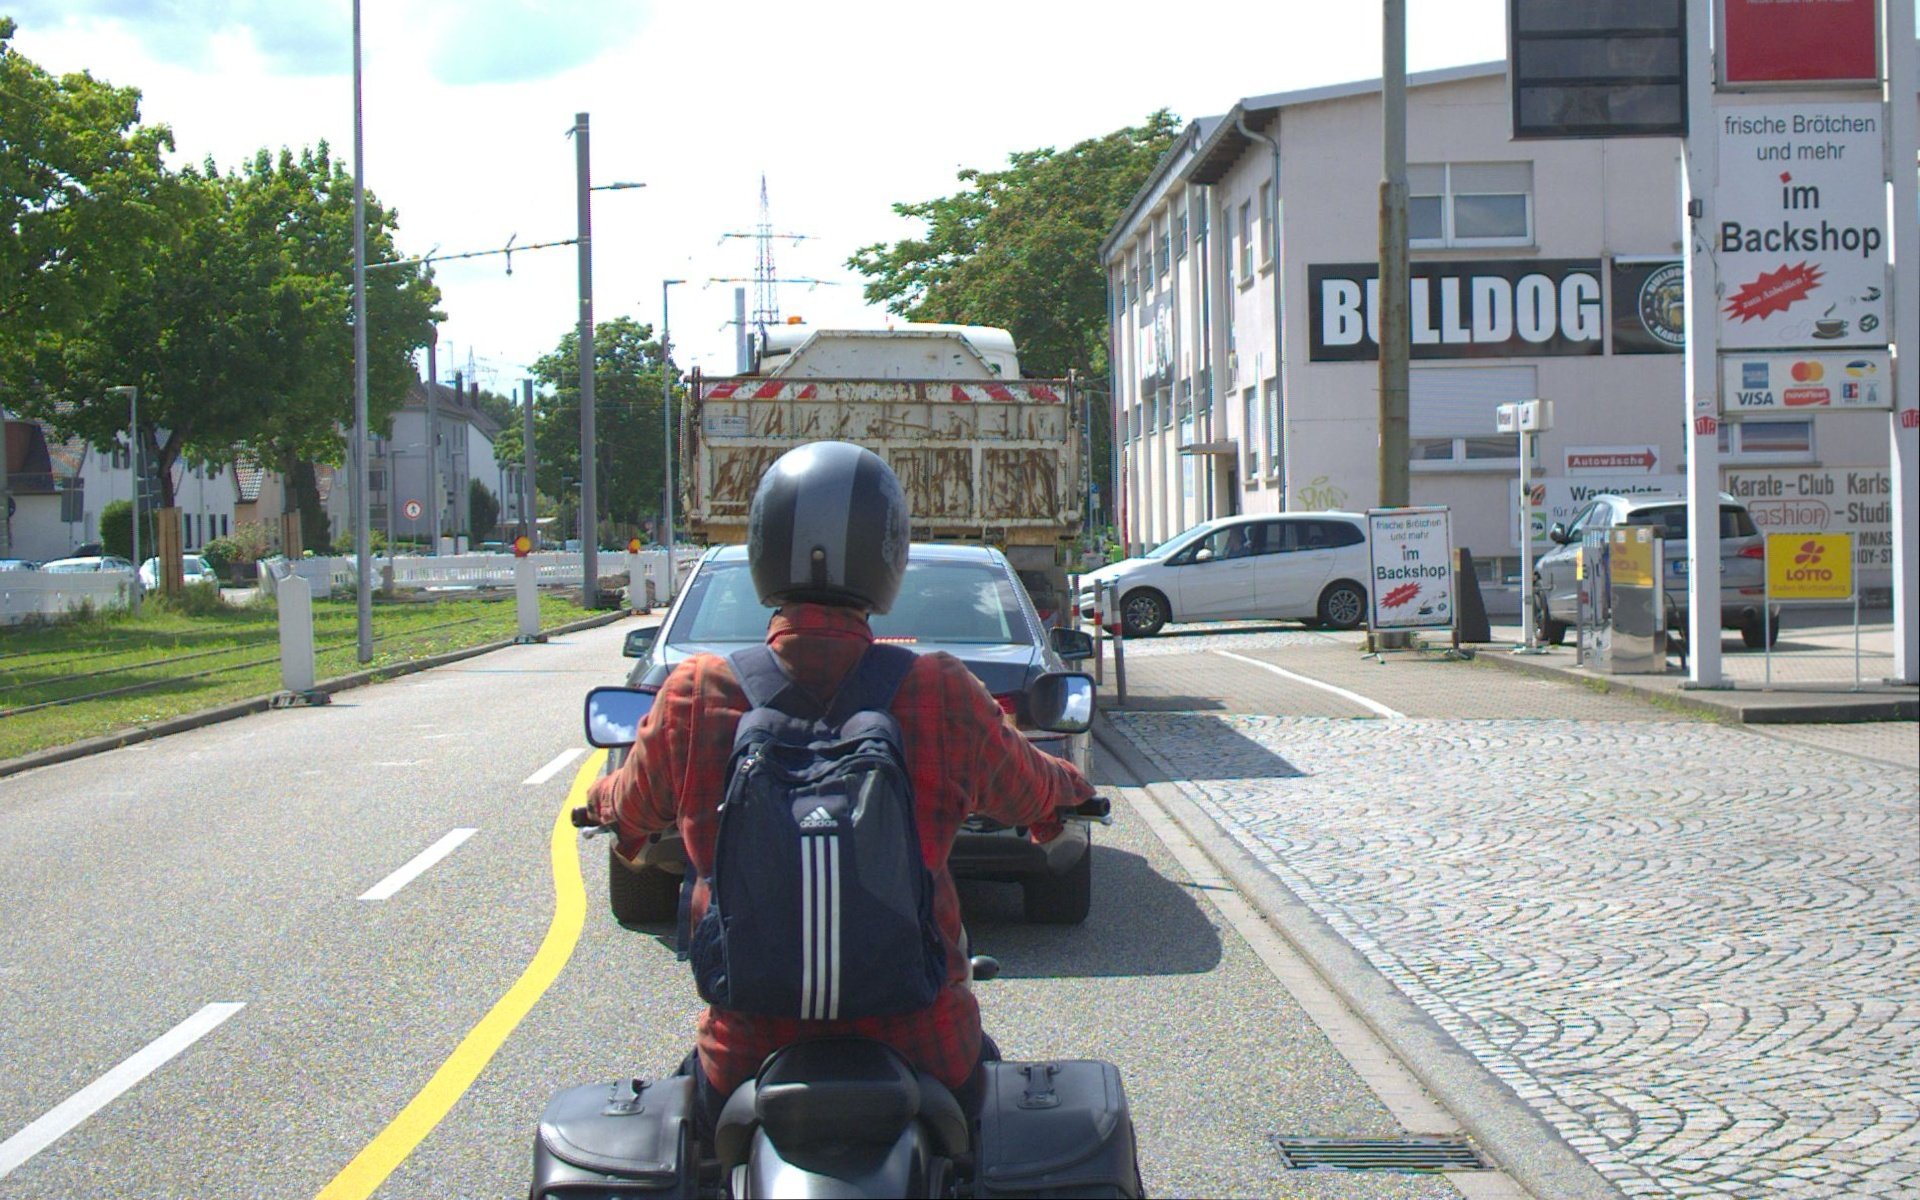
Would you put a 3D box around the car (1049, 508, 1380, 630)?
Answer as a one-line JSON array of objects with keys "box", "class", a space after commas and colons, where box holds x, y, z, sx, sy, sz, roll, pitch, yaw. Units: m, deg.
[{"box": [3.455, -0.438, 47.038, 4.229, 1.537, 1.673, -1, 1, -8], "class": "car"}]

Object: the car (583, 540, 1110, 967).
[{"box": [-0.420, 0.503, 14.034, 1.823, 1.447, 4.000, 1, 1, -1], "class": "car"}]

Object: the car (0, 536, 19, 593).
[{"box": [-30.038, -1.065, 104.414, 1.776, 1.717, 4.128, -1, 1, 0], "class": "car"}]

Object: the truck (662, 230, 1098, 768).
[{"box": [-0.540, -0.715, 25.371, 2.638, 3.285, 8.057, -1, 1, -1], "class": "truck"}]

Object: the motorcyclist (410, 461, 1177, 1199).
[{"box": [-0.215, 0.615, 5.035, 0.979, 1.597, 1.088, -1, 1, -1], "class": "motorcyclist"}]

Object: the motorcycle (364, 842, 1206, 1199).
[{"box": [-0.211, 0.957, 5.346, 0.979, 0.894, 2.653, -1, 1, -1], "class": "motorcycle"}]

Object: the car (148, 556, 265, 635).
[{"box": [-17.492, -0.134, 79.969, 1.776, 1.717, 4.128, -1, 1, 0], "class": "car"}]

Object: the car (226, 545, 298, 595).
[{"box": [-25.411, -1.106, 125.250, 1.776, 1.717, 4.128, -1, 1, 0], "class": "car"}]

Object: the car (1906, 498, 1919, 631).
[{"box": [11.737, -0.384, 37.097, 1.806, 1.498, 3.834, -1, 1, -3], "class": "car"}]

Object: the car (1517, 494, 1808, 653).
[{"box": [7.382, -0.308, 36.528, 1.667, 1.557, 4.245, -1, 1, -8], "class": "car"}]
